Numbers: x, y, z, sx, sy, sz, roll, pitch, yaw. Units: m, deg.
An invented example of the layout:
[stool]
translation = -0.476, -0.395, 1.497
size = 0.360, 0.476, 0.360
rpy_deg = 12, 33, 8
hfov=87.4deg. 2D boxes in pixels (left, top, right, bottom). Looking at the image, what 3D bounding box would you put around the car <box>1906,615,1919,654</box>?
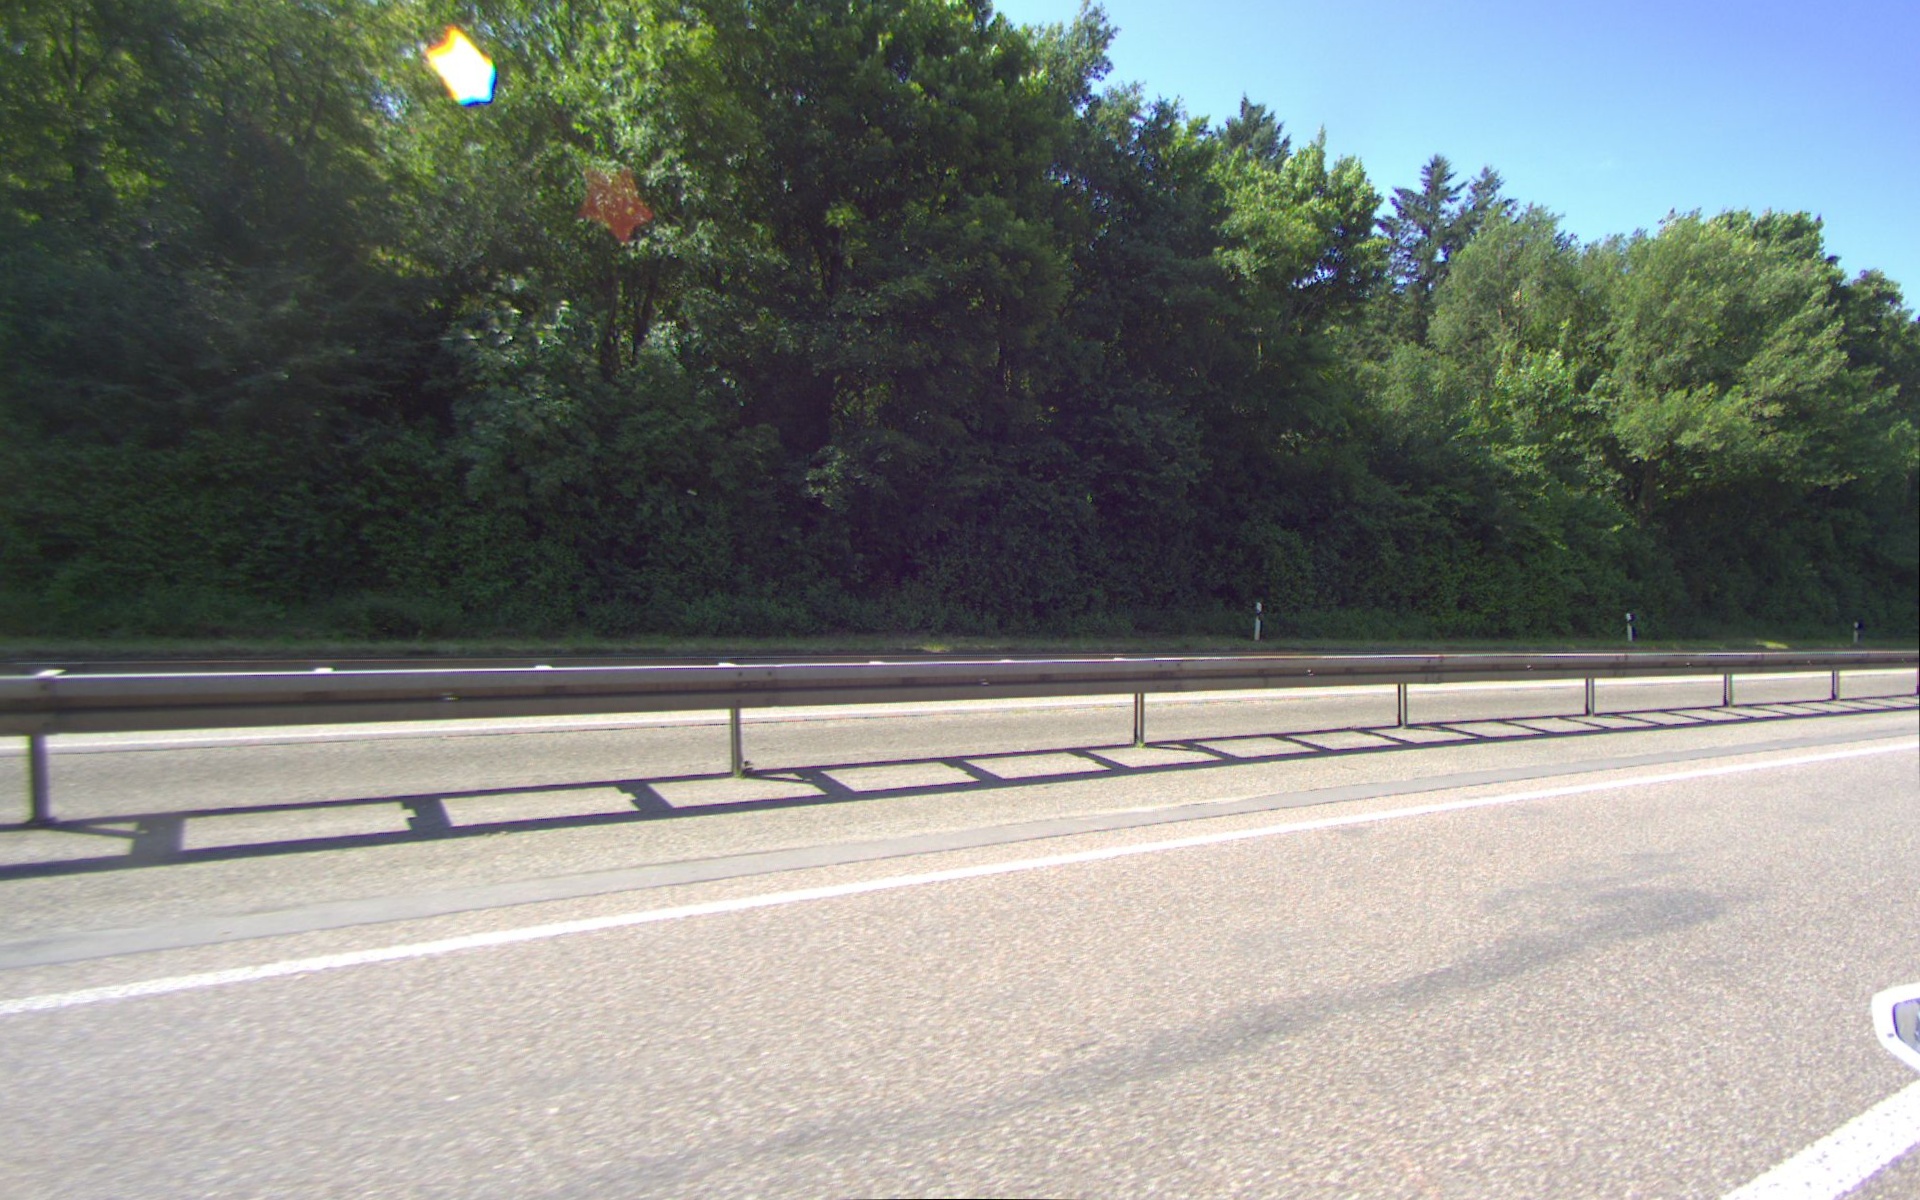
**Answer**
[car]
translation = 40.060, 1.432, 40.213
size = 4.494, 1.530, 1.835
rpy_deg = 2, 0, -28
